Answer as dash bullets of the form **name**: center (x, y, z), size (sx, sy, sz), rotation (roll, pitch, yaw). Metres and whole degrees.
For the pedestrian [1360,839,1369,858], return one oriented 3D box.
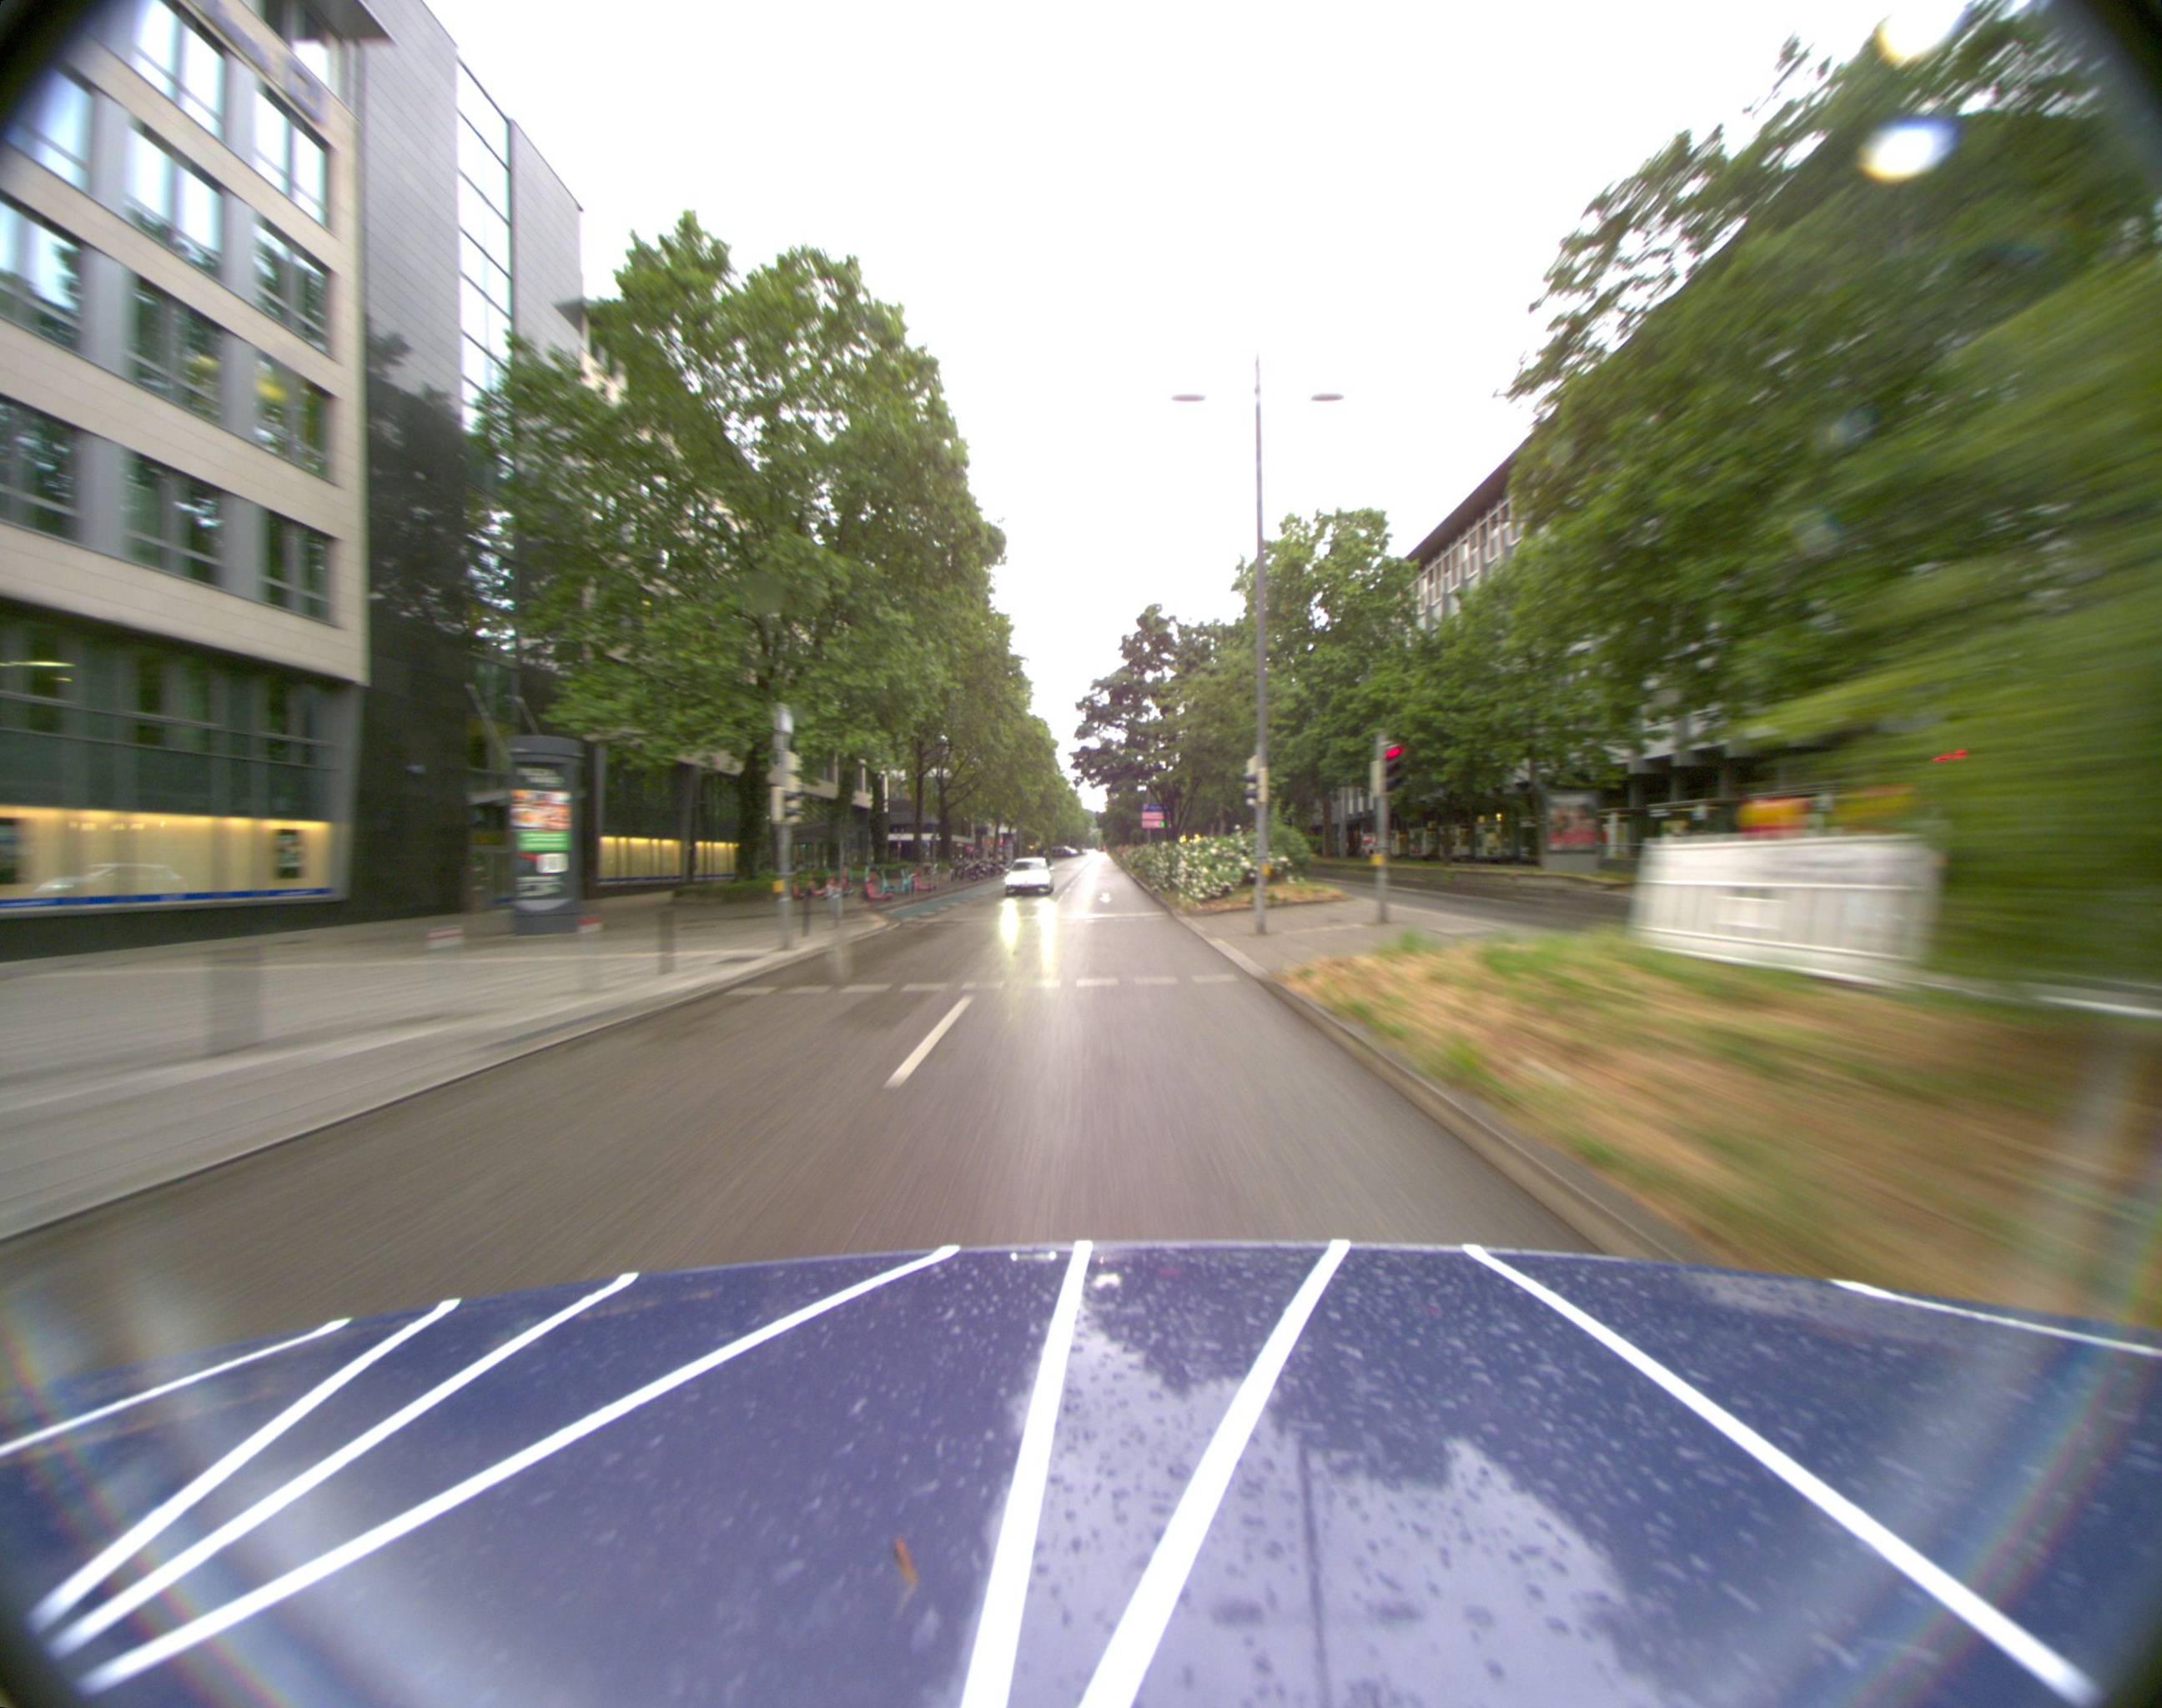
- **pedestrian**: center (25.493, -0.457, 68.271), size (0.565, 1.698, 0.686), rotation (-1, 1, 2)

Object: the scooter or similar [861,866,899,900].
- **scooter or similar**: center (-7.493, 1.069, 28.373), size (1.291, 1.252, 0.490), rotation (0, -1, 13)

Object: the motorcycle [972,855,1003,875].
- **motorcycle**: center (-6.356, 0.751, 51.658), size (1.964, 1.365, 0.728), rotation (1, -1, -20)

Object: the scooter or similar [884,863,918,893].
- **scooter or similar**: center (-7.703, 1.024, 32.570), size (1.292, 1.228, 0.489), rotation (0, -1, 4)

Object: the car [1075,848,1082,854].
- **car**: center (-0.718, -0.890, 199.347), size (1.598, 1.517, 3.425), rotation (-1, 1, 2)

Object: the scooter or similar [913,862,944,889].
- **scooter or similar**: center (-7.199, 1.013, 35.918), size (1.292, 1.270, 0.537), rotation (0, -1, 6)

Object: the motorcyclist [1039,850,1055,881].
- **motorcyclist**: center (-1.780, 0.612, 40.022), size (0.744, 1.575, 1.059), rotation (-2, 2, 2)

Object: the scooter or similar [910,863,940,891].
- **scooter or similar**: center (-7.141, 1.034, 34.787), size (1.293, 1.270, 0.536), rotation (1, -1, -9)

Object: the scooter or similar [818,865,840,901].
- **scooter or similar**: center (-8.919, 1.002, 26.958), size (0.489, 1.191, 1.292), rotation (-1, 1, -8)

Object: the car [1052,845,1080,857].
- **car**: center (-3.470, -0.764, 176.598), size (6.267, 2.665, 2.326), rotation (-1, 2, 37)

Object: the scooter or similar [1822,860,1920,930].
- **scooter or similar**: center (12.979, 0.667, 12.489), size (1.185, 1.107, 0.435), rotation (-1, 1, -2)

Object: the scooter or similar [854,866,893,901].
- **scooter or similar**: center (-7.588, 1.084, 27.765), size (1.291, 1.252, 0.490), rotation (0, -1, 13)

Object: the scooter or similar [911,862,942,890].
- **scooter or similar**: center (-7.195, 1.022, 35.473), size (1.292, 1.270, 0.537), rotation (0, -1, 6)

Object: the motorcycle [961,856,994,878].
- **motorcycle**: center (-6.543, 0.838, 48.229), size (1.964, 1.365, 0.728), rotation (1, -1, -20)

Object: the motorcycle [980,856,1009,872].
- **motorcycle**: center (-6.625, 0.758, 58.399), size (2.064, 1.206, 0.683), rotation (1, 1, -34)

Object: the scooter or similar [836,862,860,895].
- **scooter or similar**: center (-9.035, 0.953, 29.546), size (0.489, 1.252, 1.294), rotation (1, -1, 2)

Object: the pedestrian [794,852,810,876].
- **pedestrian**: center (-19.626, 0.693, 53.471), size (0.727, 1.683, 0.830), rotation (1, 1, 44)

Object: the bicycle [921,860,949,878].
- **bicycle**: center (-8.635, 0.861, 44.981), size (0.637, 1.022, 1.766), rotation (-1, 1, 30)

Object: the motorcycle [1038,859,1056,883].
- **motorcycle**: center (-1.767, 0.878, 40.100), size (0.744, 1.194, 2.235), rotation (-2, 1, 2)

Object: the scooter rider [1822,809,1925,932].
- **scooter rider**: center (12.972, 0.259, 12.461), size (0.902, 1.929, 0.757), rotation (-1, 1, -2)

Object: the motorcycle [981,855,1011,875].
- **motorcycle**: center (-6.269, 0.835, 56.049), size (2.062, 1.420, 0.728), rotation (1, -1, -20)

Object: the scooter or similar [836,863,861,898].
- **scooter or similar**: center (-8.489, 0.972, 27.801), size (0.489, 1.252, 1.294), rotation (1, -1, 2)

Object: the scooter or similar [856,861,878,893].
- **scooter or similar**: center (-8.639, 0.917, 30.723), size (0.489, 1.252, 1.294), rotation (1, -1, 2)

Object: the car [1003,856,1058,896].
- **car**: center (-1.994, 0.847, 31.158), size (1.795, 1.463, 3.794), rotation (-2, 1, 2)

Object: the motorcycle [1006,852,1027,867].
- **motorcycle**: center (-6.090, 0.508, 71.821), size (0.682, 1.359, 1.950), rotation (4, 2, 42)

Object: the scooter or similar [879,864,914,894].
- **scooter or similar**: center (-7.723, 1.040, 31.826), size (1.292, 1.228, 0.489), rotation (0, -1, 4)

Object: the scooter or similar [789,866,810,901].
- **scooter or similar**: center (-10.085, 1.031, 27.219), size (0.490, 1.191, 1.290), rotation (-2, 2, -29)

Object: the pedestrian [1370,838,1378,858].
- **pedestrian**: center (26.351, -0.564, 68.348), size (0.549, 1.797, 0.522), rotation (-1, 1, 2)

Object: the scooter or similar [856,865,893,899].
- **scooter or similar**: center (-7.853, 1.069, 28.918), size (1.291, 1.252, 0.490), rotation (0, -1, 13)

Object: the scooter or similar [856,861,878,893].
- **scooter or similar**: center (-8.639, 0.917, 30.723), size (0.489, 1.252, 1.294), rotation (1, -1, 2)

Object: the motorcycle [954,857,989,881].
- **motorcycle**: center (-6.506, 0.891, 44.977), size (1.963, 1.365, 0.728), rotation (1, -1, -14)
